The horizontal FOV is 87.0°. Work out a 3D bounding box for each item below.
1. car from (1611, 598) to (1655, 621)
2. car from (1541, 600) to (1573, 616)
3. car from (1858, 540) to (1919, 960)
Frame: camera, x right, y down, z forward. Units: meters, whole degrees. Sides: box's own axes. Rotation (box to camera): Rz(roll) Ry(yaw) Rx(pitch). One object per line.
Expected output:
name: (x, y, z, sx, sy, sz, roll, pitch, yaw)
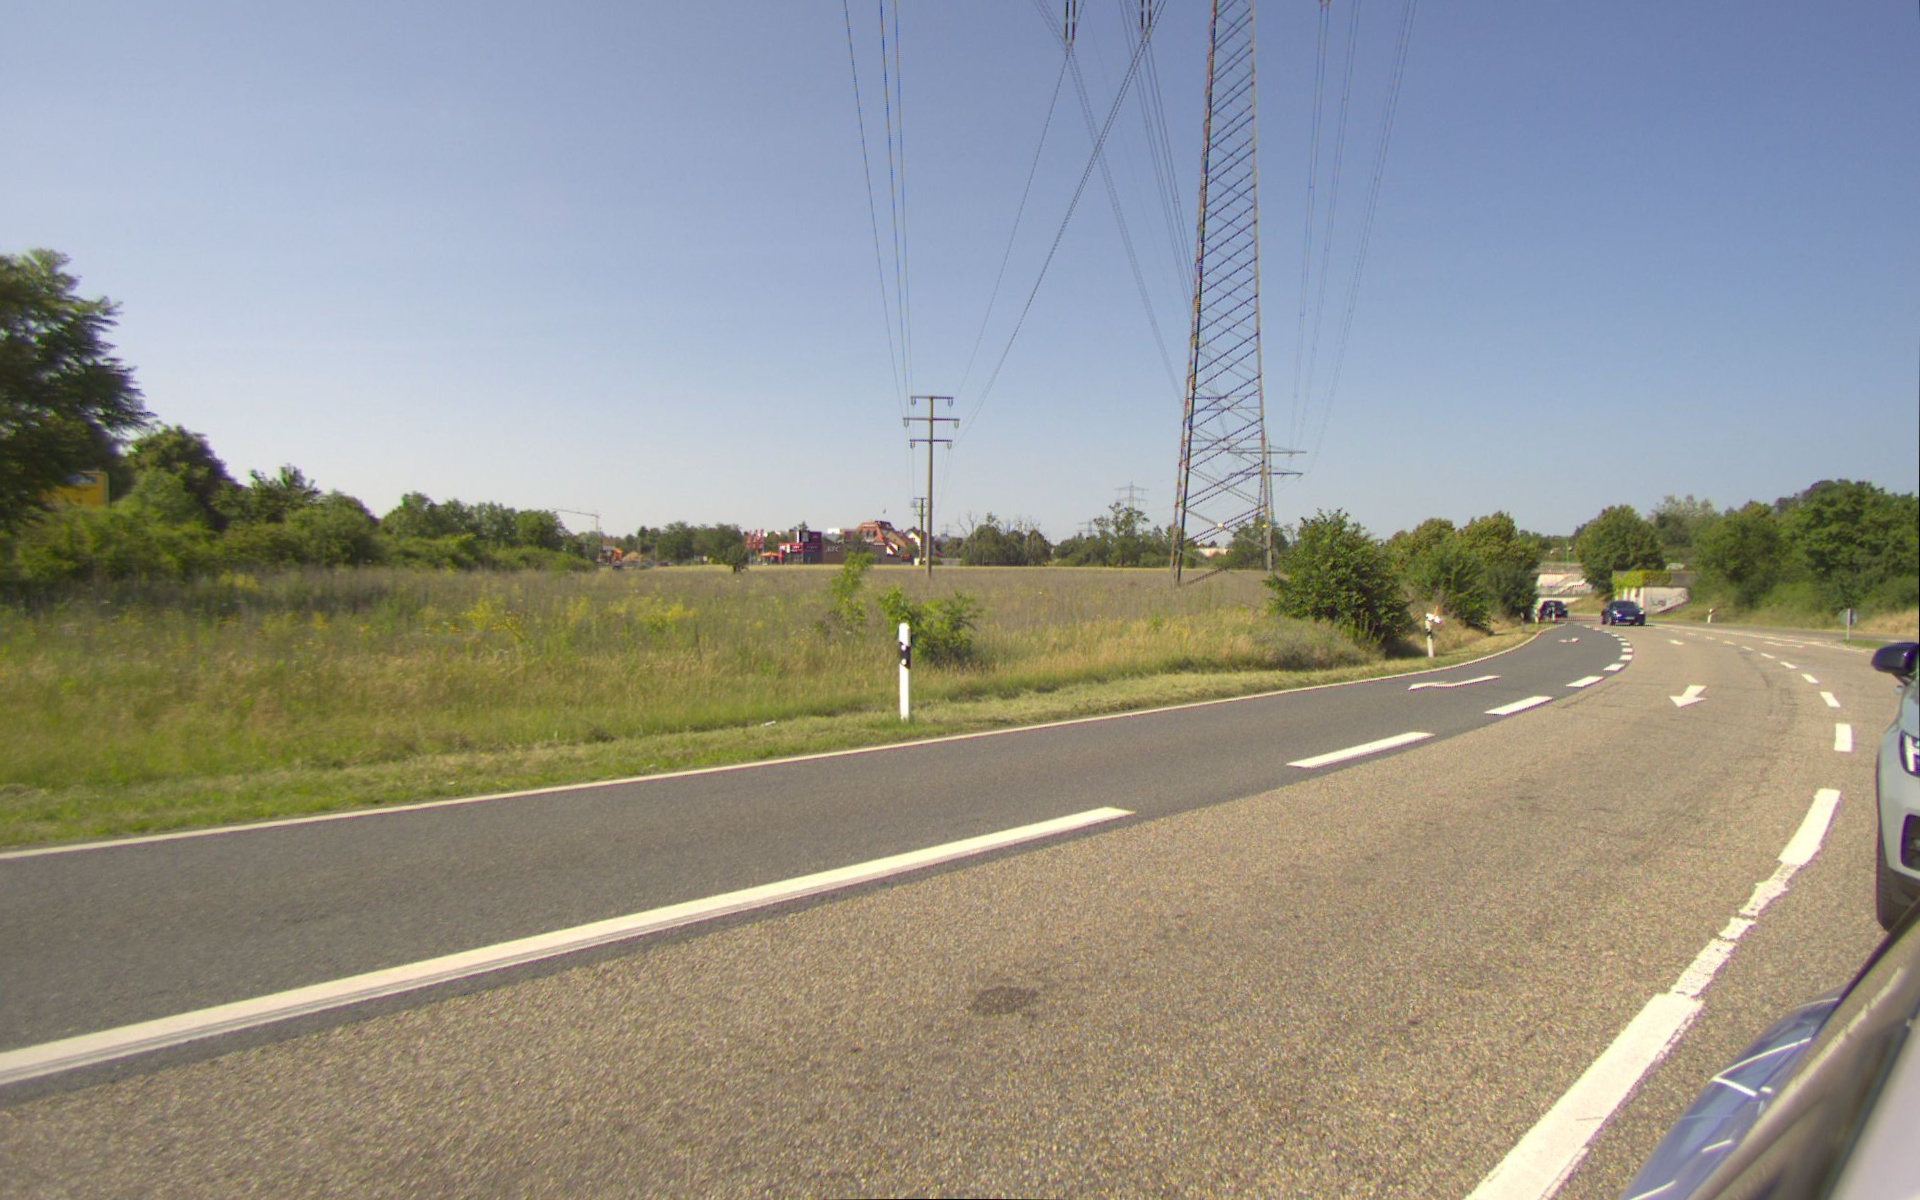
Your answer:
car: (43.823, 0.614, 65.980, 1.880, 1.369, 3.503, -1, 0, 26)
car: (53.586, 0.678, 90.896, 1.876, 1.369, 3.510, -1, 0, 21)
car: (5.586, 0.601, 4.561, 3.583, 1.640, 1.858, 0, 0, -41)
